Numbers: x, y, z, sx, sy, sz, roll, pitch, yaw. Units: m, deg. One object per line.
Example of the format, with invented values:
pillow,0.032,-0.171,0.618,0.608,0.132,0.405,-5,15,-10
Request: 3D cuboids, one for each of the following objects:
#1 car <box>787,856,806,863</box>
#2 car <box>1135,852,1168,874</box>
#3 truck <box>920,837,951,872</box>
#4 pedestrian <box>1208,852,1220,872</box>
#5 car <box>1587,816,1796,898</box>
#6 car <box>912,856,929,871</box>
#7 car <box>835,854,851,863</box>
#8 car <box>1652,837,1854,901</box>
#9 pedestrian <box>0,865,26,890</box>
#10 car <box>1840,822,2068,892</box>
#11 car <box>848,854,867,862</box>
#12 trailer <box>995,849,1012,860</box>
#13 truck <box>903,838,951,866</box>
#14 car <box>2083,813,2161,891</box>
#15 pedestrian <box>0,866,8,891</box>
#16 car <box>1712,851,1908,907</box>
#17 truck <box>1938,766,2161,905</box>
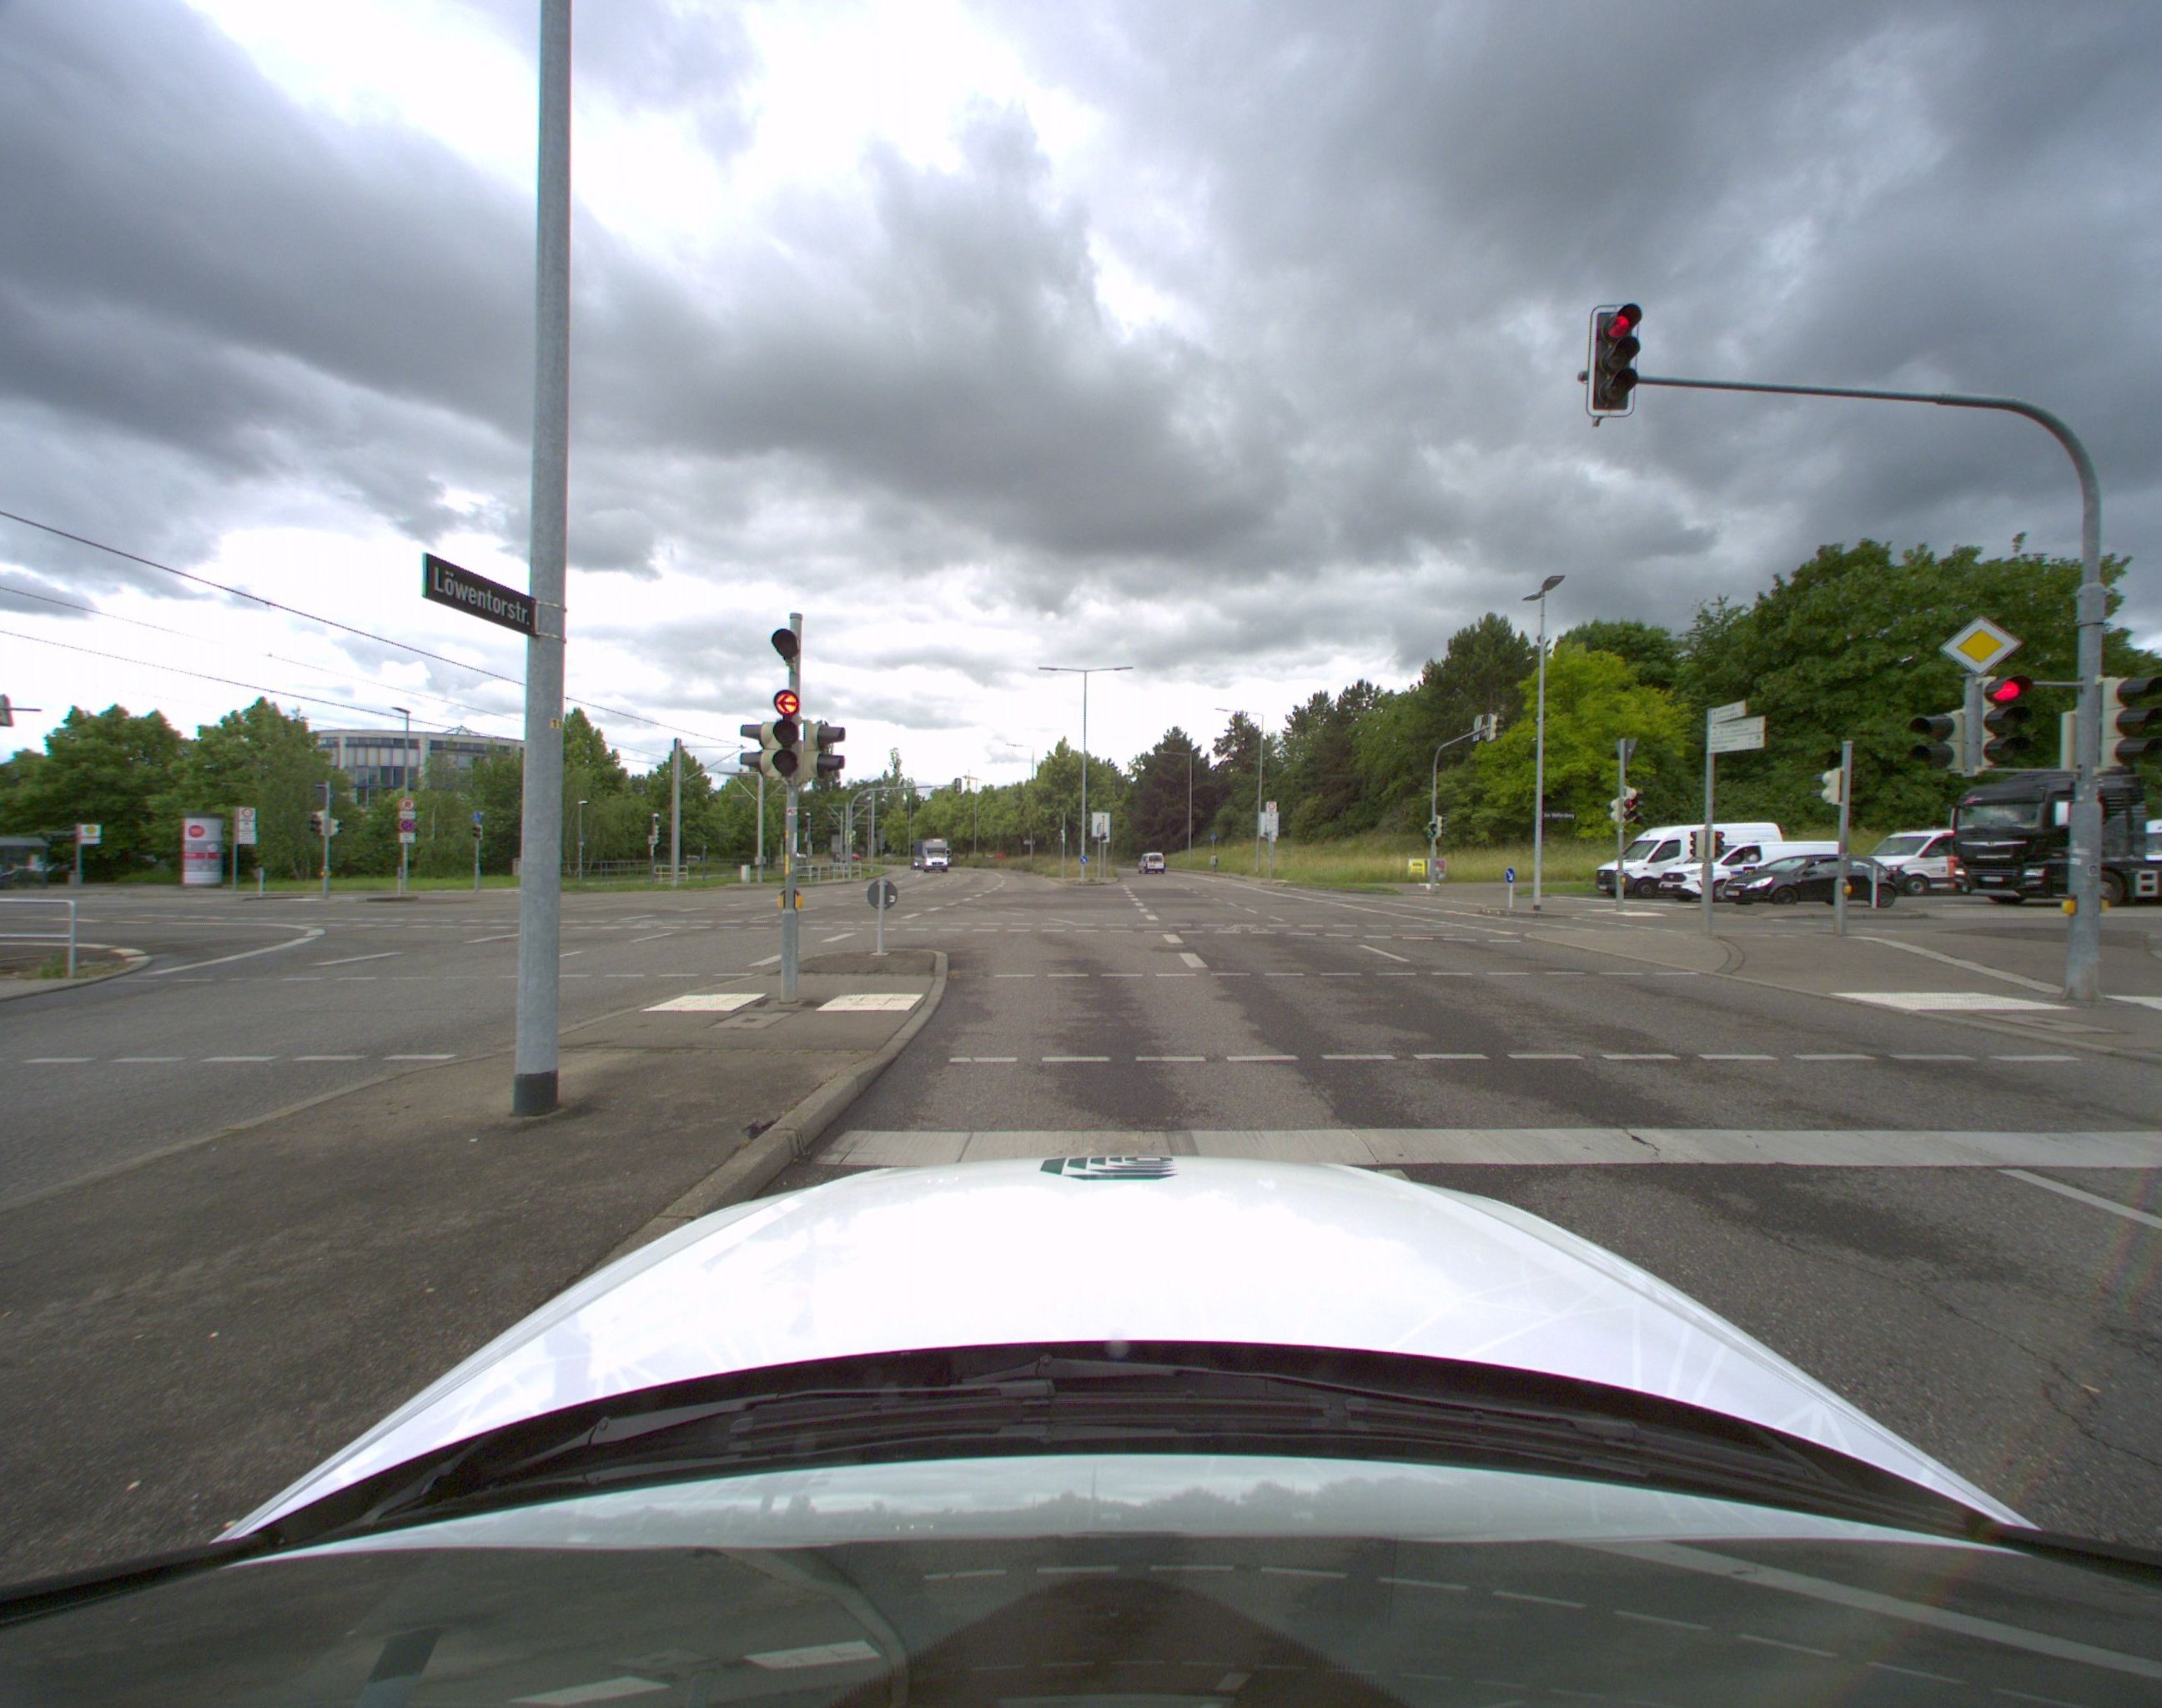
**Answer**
car,-60.623,1.167,173.439,3.973,1.546,1.795,0,0,33
car,6.232,0.794,72.336,1.992,1.802,4.828,-1,-1,-6
truck,-13.632,0.082,76.102,2.121,3.135,5.865,0,-1,-17
pedestrian,10.856,0.661,66.397,0.811,1.627,0.791,0,0,1
car,21.894,0.097,29.411,5.870,2.781,2.136,-1,0,2
car,-18.440,1.099,93.598,1.781,1.446,4.511,-2,2,-11
car,-42.965,0.846,146.910,1.792,1.446,4.483,-2,2,-31
car,21.588,0.460,26.331,4.836,1.896,2.034,-1,0,1
pedestrian,-56.433,1.248,42.984,0.774,1.304,0.666,0,0,15
car,30.679,0.112,28.765,5.677,2.289,2.136,-1,0,2
car,-45.211,0.800,164.437,3.973,1.546,1.795,0,0,41
trailer,-12.054,0.096,126.968,1.773,1.616,3.019,-1,0,-25
truck,-21.751,-0.227,114.082,3.066,3.760,12.697,0,-1,-28
car,39.720,-0.126,28.490,6.473,2.609,2.197,-1,0,2
pedestrian,-57.692,1.295,43.198,0.774,1.303,0.666,0,0,15
car,20.276,0.672,22.775,3.905,1.436,1.732,-1,0,1
truck,27.930,-0.512,22.271,6.027,3.538,2.729,-1,0,2
